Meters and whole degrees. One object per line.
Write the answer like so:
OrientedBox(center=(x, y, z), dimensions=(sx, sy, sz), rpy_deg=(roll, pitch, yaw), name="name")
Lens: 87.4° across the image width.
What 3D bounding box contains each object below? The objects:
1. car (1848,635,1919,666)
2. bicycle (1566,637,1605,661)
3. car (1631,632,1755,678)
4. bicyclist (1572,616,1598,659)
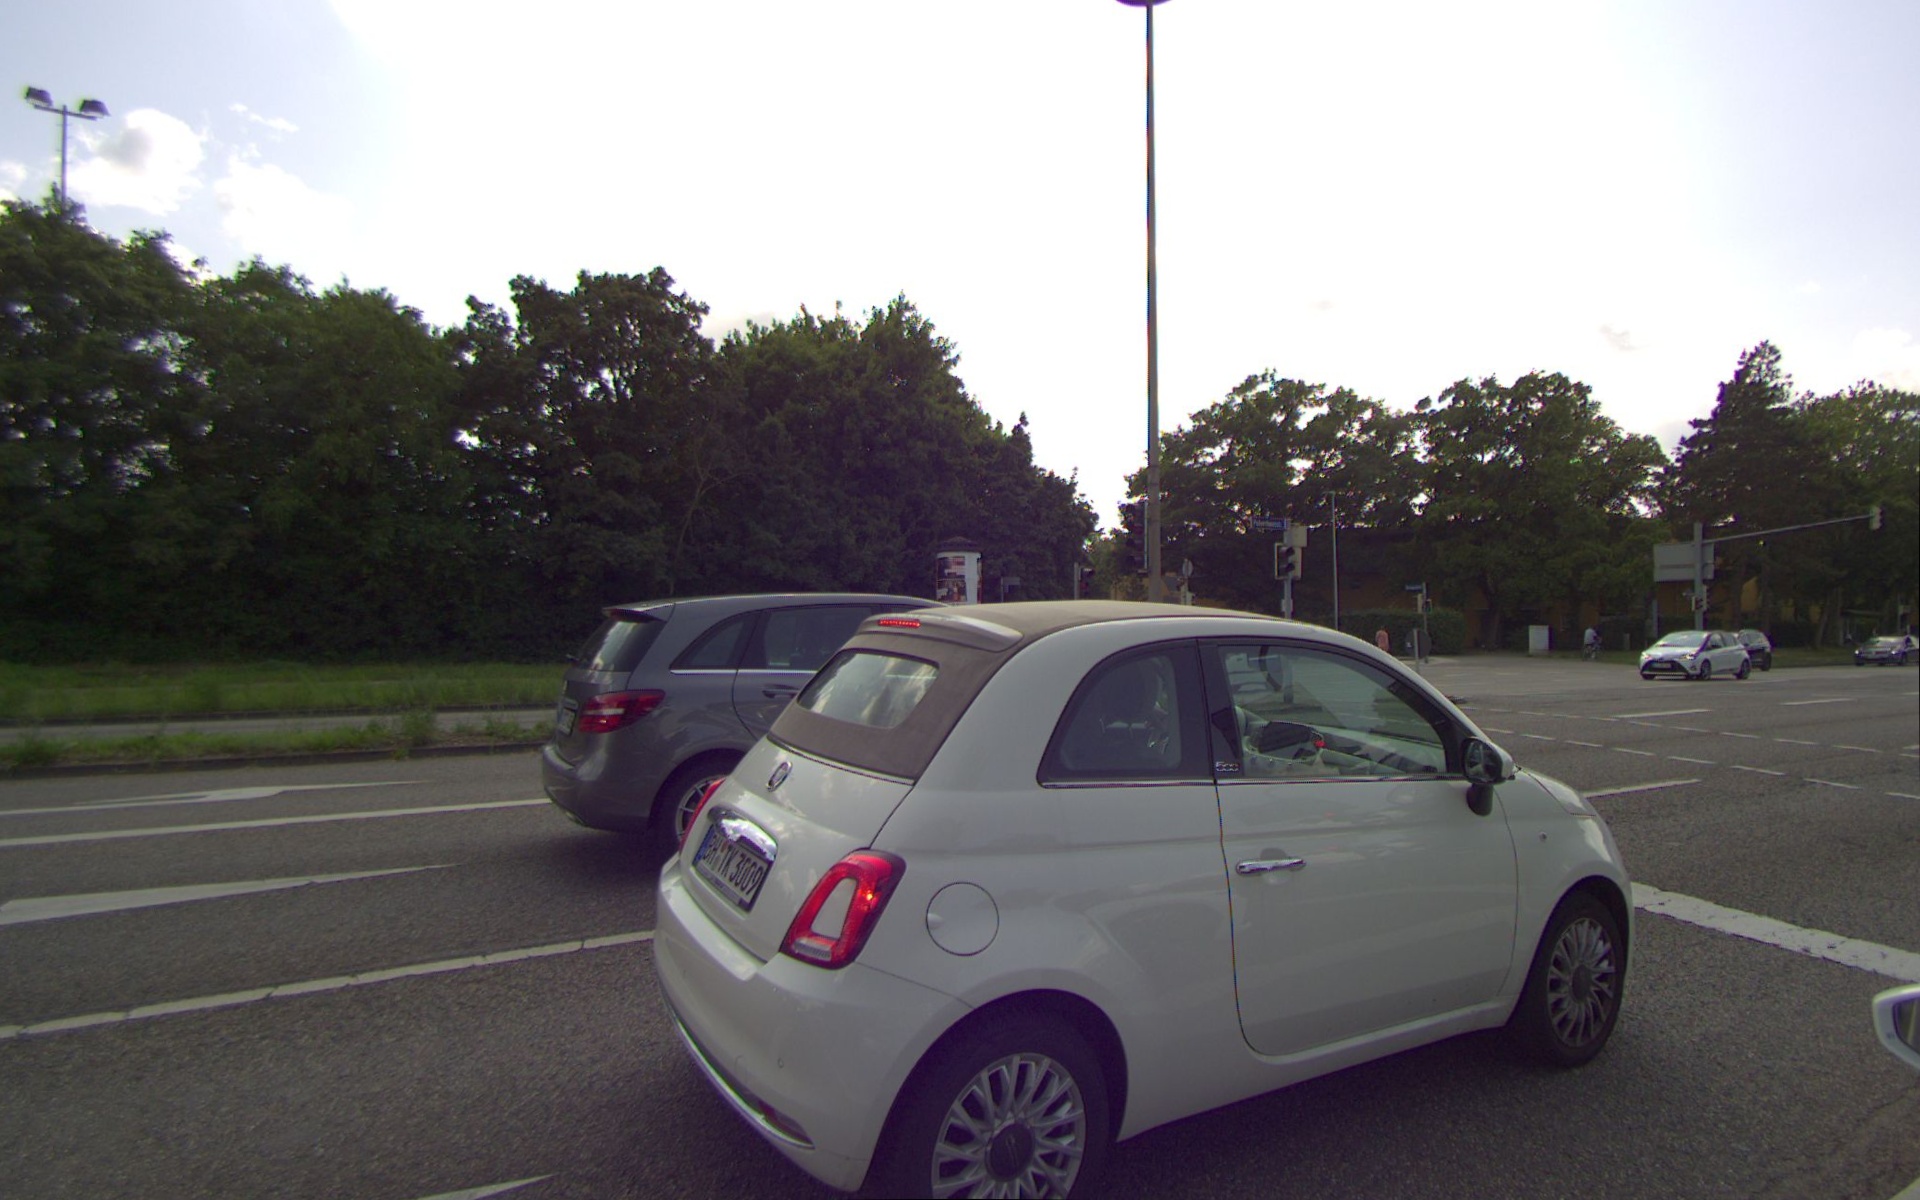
OrientedBox(center=(43.848, 2.357, 47.579), dimensions=(4.036, 1.390, 1.586), rpy_deg=(1, -2, -32), name="car")
OrientedBox(center=(30.037, 2.348, 48.228), dimensions=(2.091, 1.133, 0.751), rpy_deg=(1, -2, -32), name="bicycle")
OrientedBox(center=(22.458, 1.694, 30.763), dimensions=(3.651, 1.325, 1.745), rpy_deg=(2, -4, -30), name="car")
OrientedBox(center=(29.992, 1.783, 48.216), dimensions=(0.822, 2.040, 0.747), rpy_deg=(1, -2, -32), name="bicyclist")
